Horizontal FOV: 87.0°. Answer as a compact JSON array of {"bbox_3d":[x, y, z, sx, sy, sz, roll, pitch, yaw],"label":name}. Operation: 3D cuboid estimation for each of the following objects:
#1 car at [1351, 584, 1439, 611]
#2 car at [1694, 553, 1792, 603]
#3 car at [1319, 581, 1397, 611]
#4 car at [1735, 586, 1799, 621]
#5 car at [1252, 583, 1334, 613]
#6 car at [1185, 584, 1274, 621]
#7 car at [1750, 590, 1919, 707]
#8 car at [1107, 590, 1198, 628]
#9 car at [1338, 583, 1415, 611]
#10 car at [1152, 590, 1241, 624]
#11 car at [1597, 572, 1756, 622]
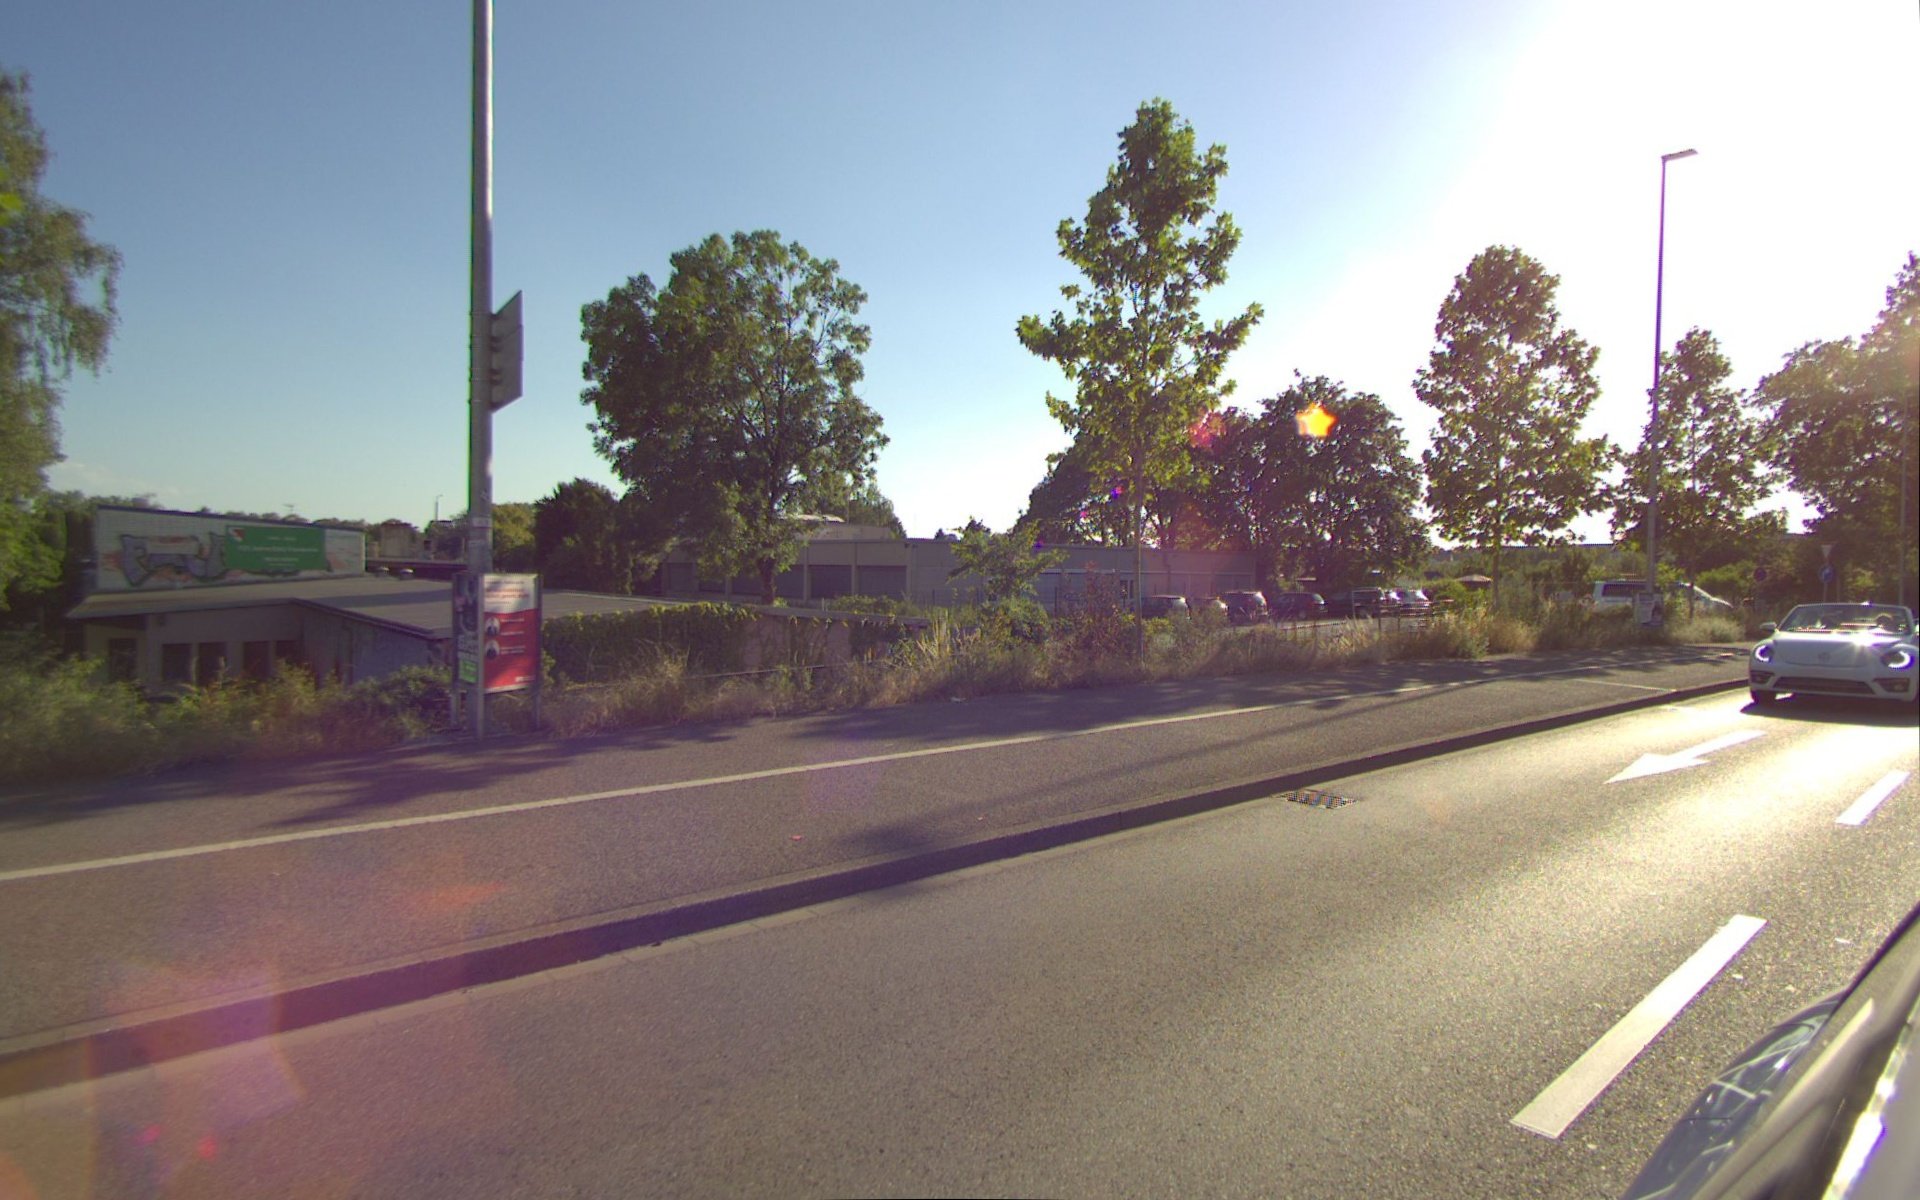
[{"bbox_3d":[26.506,-0.104,61.770,1.828,1.589,4.653,1,-1,-43],"label":"car"},{"bbox_3d":[44.149,-1.200,57.037,5.812,2.654,2.942,0,1,-37],"label":"car"},{"bbox_3d":[22.794,-0.186,58.082,1.635,1.661,3.869,1,-1,-41],"label":"car"},{"bbox_3d":[41.026,0.140,51.418,4.087,1.668,1.995,0,1,-44],"label":"car"},{"bbox_3d":[18.232,-0.075,55.521,1.657,1.606,4.023,1,-1,-43],"label":"car"},{"bbox_3d":[13.175,0.128,49.677,1.678,1.687,3.912,-2,1,-43],"label":"car"},{"bbox_3d":[12.954,0.602,14.461,3.909,1.441,1.856,0,1,-40],"label":"car"},{"bbox_3d":[8.727,0.363,46.009,1.701,1.575,3.785,-4,3,-44],"label":"car"},{"bbox_3d":[24.512,-0.164,59.665,1.693,1.606,3.834,1,-1,-41],"label":"car"},{"bbox_3d":[11.173,0.299,48.029,1.712,1.413,3.785,-4,3,-44],"label":"car"},{"bbox_3d":[31.126,-0.101,44.127,2.068,2.048,5.342,1,-1,-42],"label":"car"}]
